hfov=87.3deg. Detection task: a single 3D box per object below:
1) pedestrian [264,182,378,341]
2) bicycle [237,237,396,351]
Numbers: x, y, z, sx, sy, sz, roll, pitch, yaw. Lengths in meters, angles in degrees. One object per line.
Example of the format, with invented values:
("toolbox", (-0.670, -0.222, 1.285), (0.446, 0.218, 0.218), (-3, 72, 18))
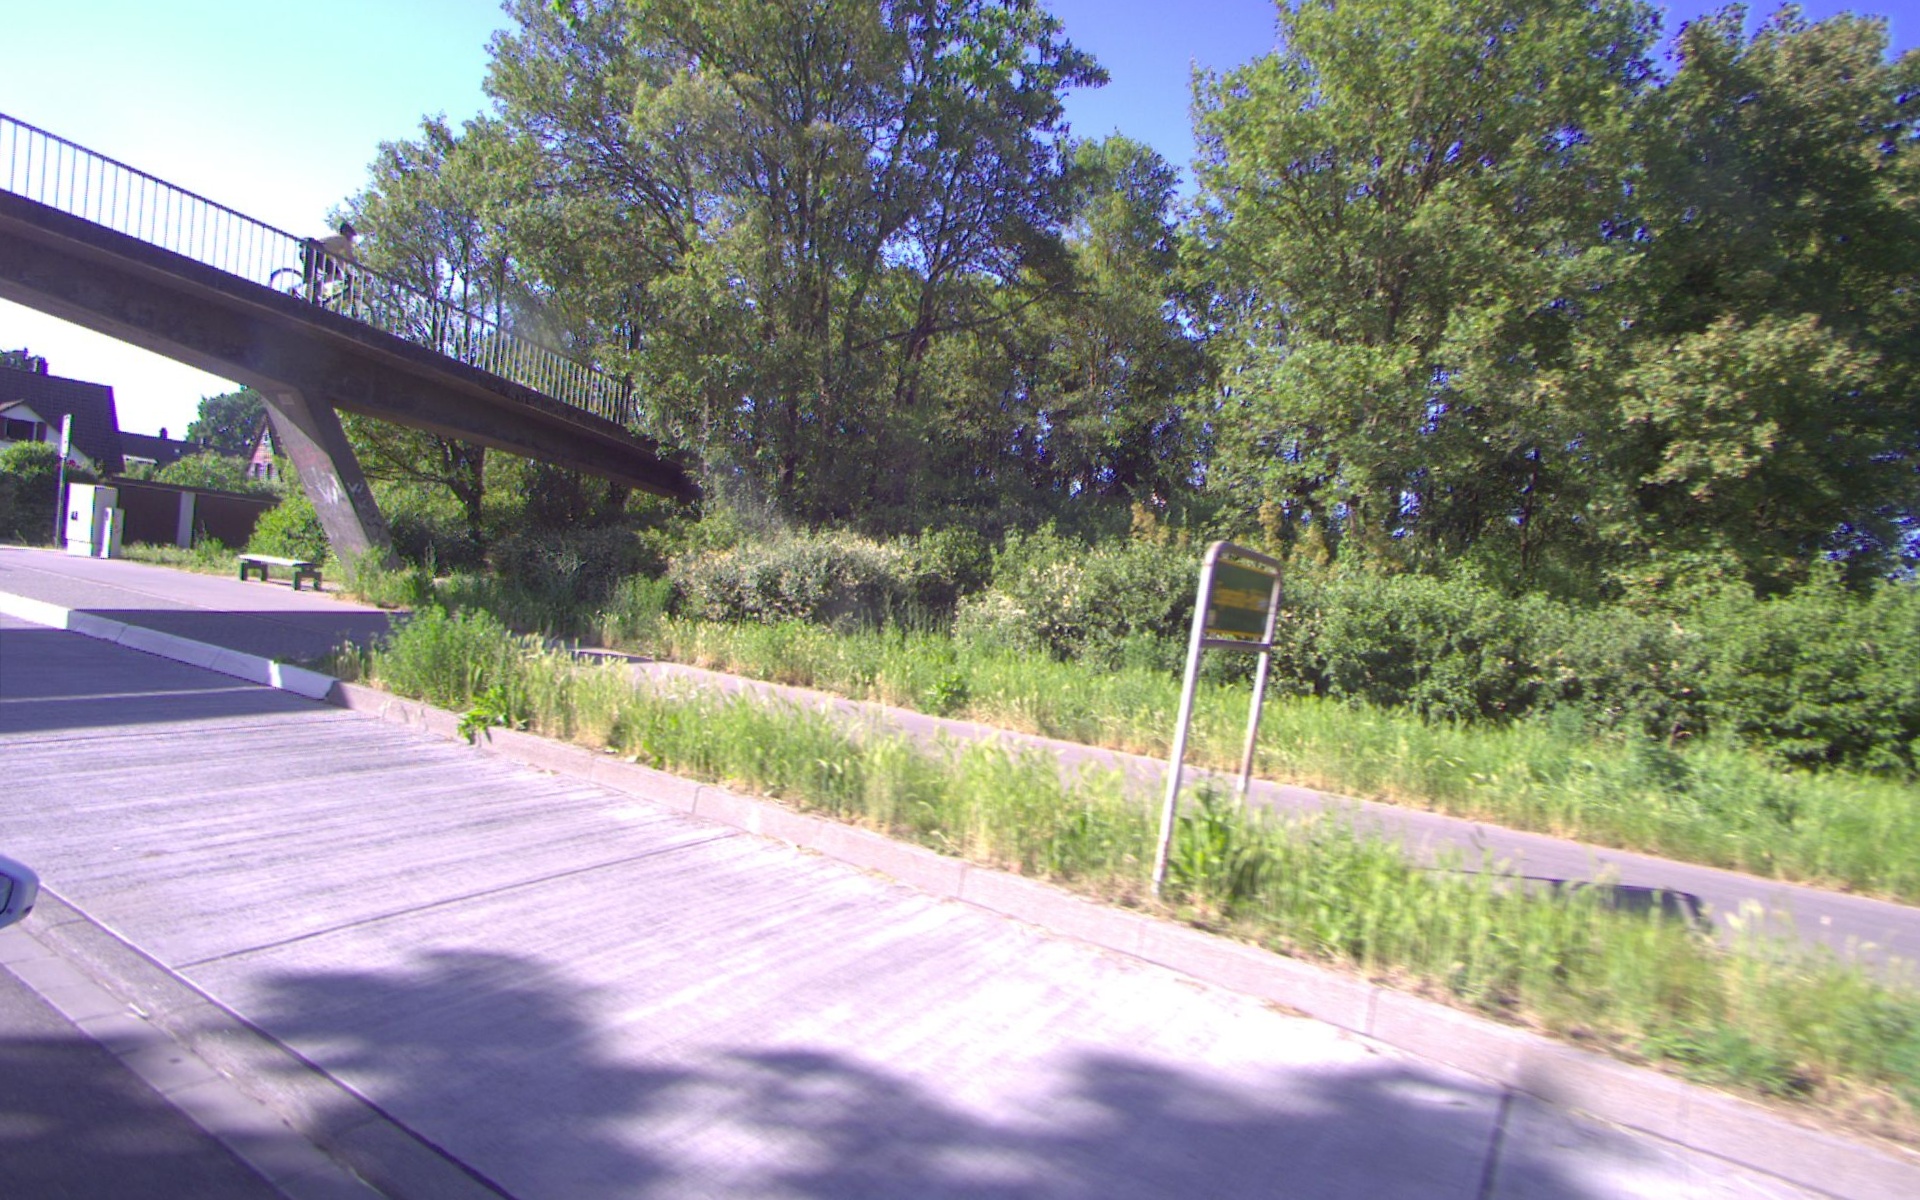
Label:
("pedestrian", (-10.434, -5.471, 16.443), (0.980, 2.150, 1.067), (7, 1, 28))
("bicycle", (-10.467, -4.947, 16.454), (0.715, 1.120, 1.994), (7, -2, 29))
